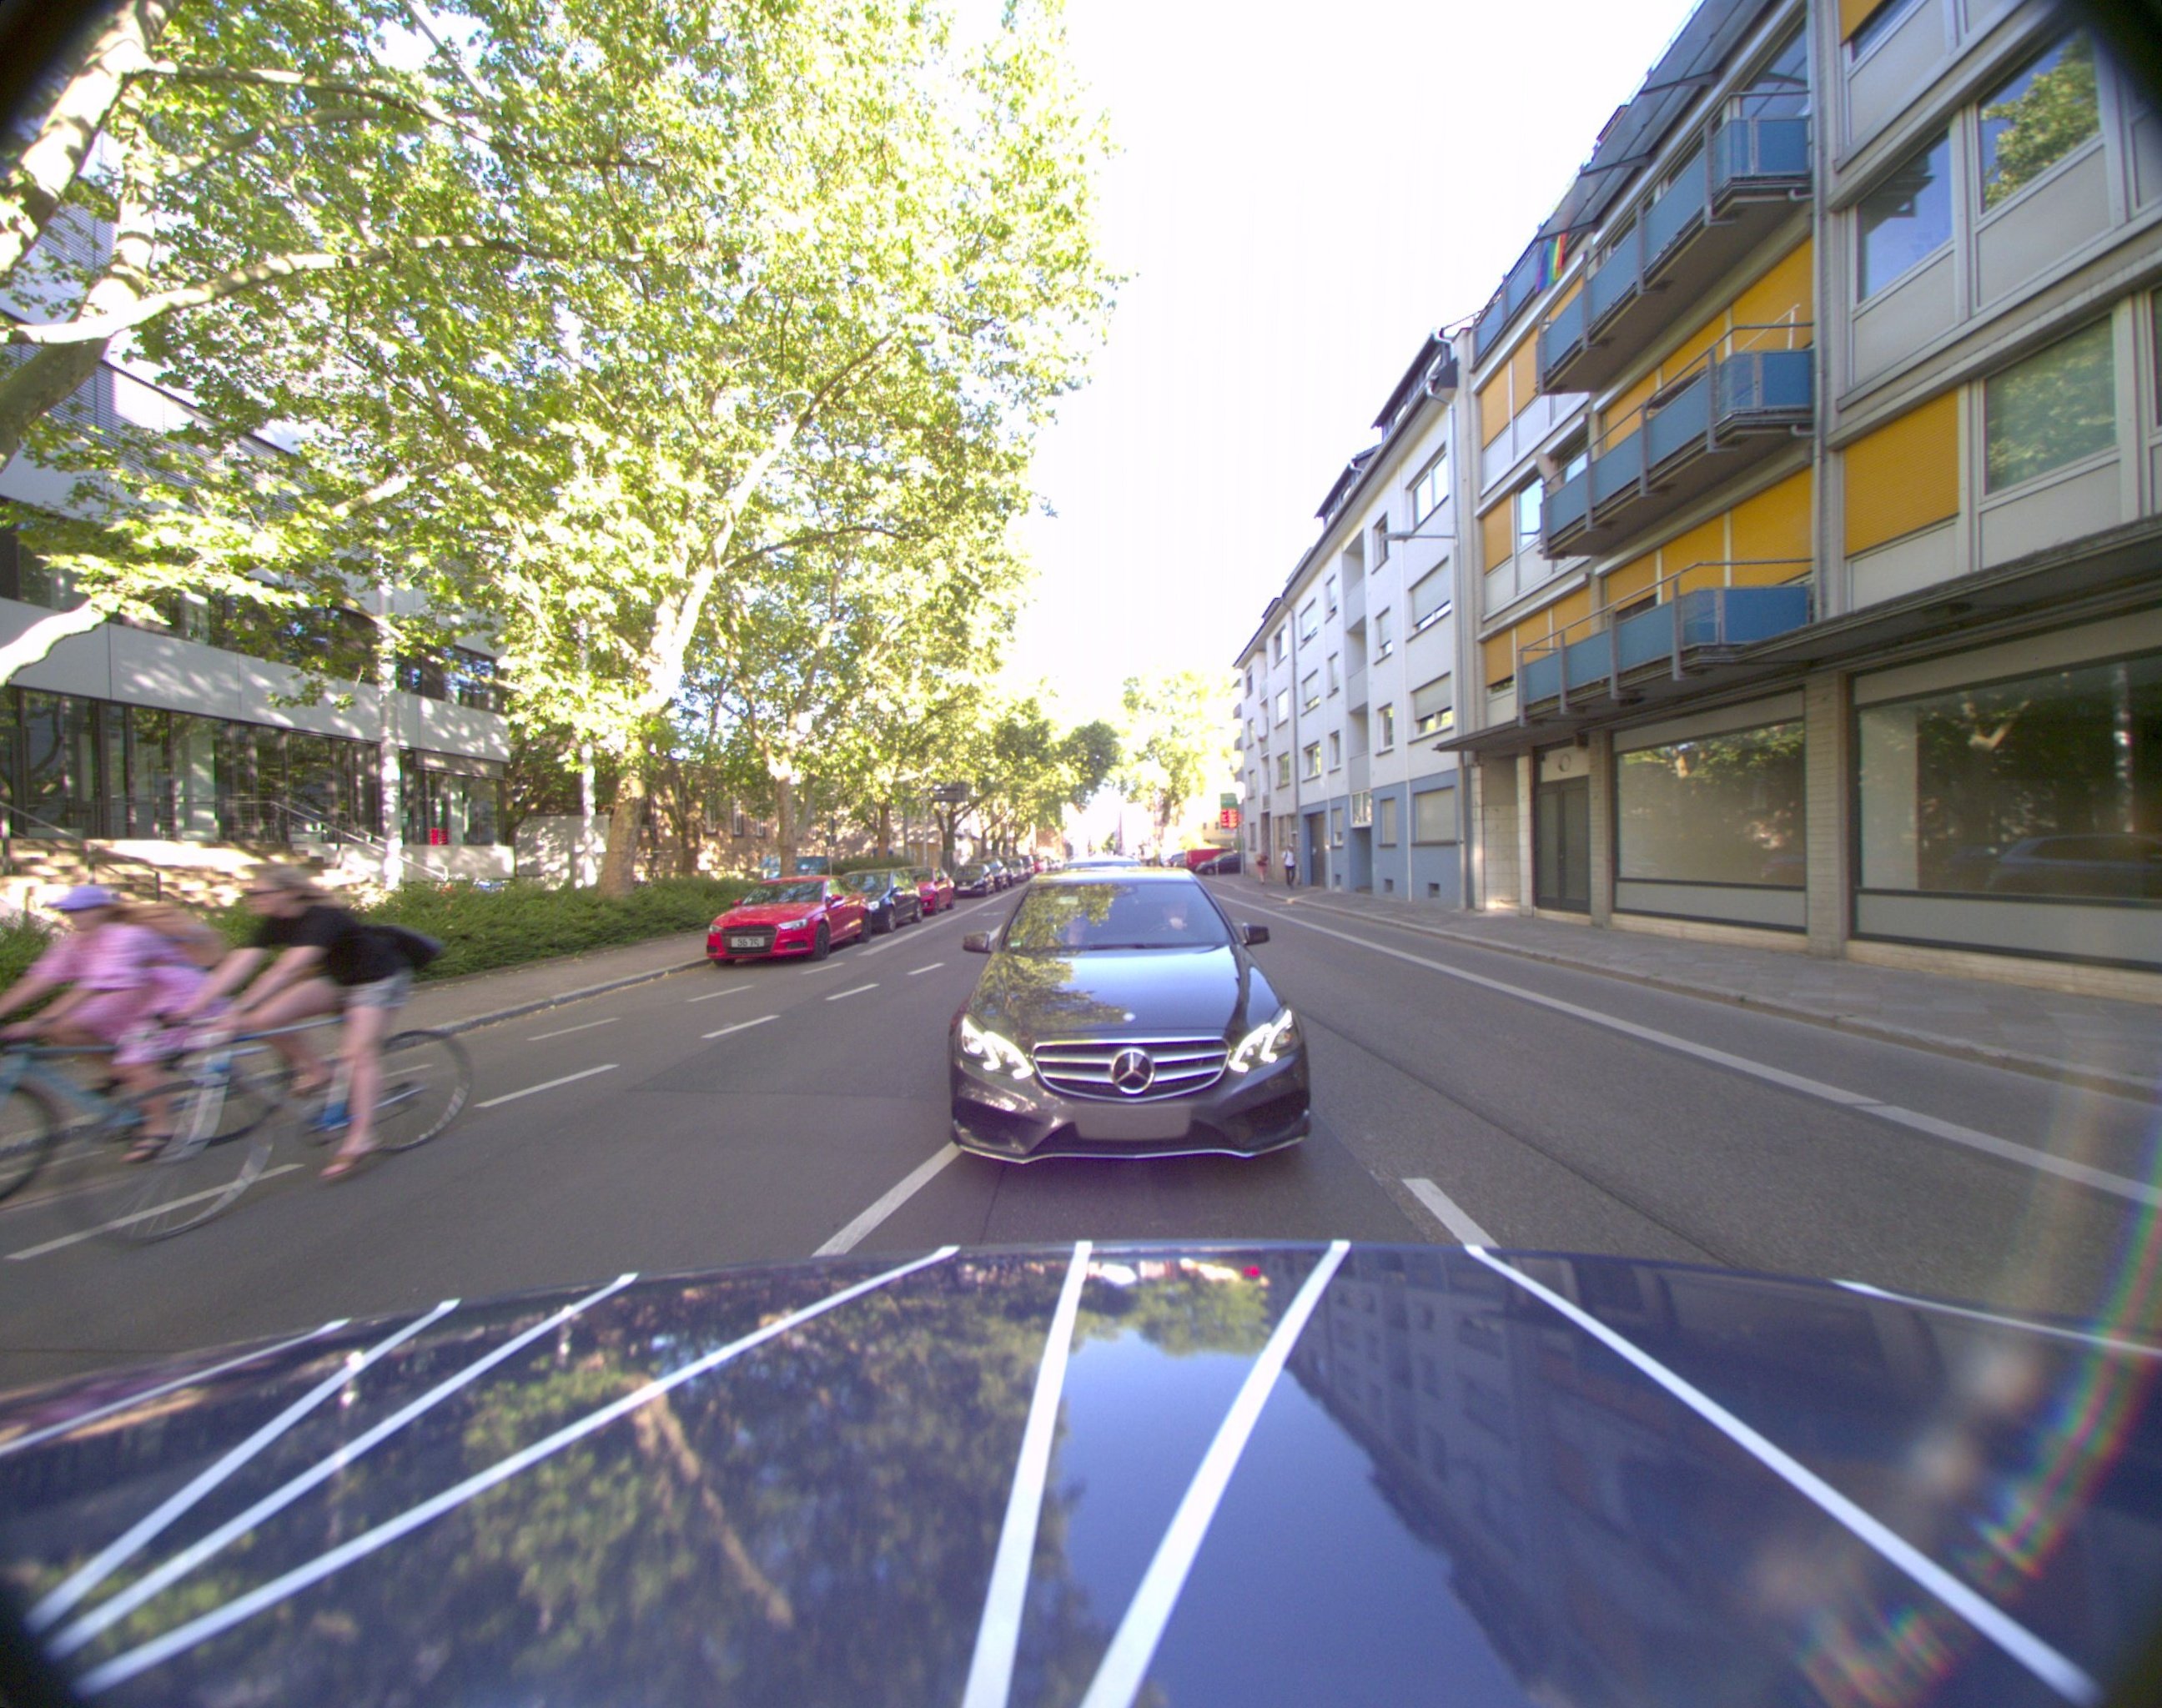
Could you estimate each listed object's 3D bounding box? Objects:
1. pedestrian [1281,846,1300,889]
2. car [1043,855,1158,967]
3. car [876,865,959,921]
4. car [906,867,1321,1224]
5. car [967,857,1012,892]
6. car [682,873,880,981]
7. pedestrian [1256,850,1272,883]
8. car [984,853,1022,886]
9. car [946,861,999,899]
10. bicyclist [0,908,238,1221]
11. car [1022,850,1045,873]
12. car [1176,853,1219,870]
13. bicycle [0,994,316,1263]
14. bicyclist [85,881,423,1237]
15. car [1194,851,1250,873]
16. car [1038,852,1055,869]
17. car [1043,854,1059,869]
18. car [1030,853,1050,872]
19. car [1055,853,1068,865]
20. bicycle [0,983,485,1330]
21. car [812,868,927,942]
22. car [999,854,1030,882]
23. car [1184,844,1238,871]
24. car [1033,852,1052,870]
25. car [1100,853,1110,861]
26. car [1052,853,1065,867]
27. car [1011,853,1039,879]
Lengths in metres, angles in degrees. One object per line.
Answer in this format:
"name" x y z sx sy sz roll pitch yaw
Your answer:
"pedestrian" 8.516 0.540 30.910 0.569 1.716 0.343 -3 1 1
"car" 0.331 0.882 13.737 1.680 1.622 4.125 -3 0 1
"car" -4.993 1.149 23.664 1.635 1.455 3.740 -3 0 1
"car" 0.176 0.904 5.500 1.804 1.455 4.125 -3 0 1
"car" -4.522 0.974 38.066 1.635 1.578 3.845 -3 0 1
"car" -5.133 1.166 13.684 1.804 1.455 4.125 -3 0 1
"pedestrian" 8.495 0.571 35.265 0.569 1.509 0.343 -3 1 1
"car" -4.500 0.858 44.278 1.635 1.795 3.845 -3 0 1
"car" -4.677 1.097 33.178 1.635 1.455 3.740 -3 0 1
"bicyclist" -5.325 1.033 4.017 0.602 1.393 0.931 -3 1 1
"car" -4.134 0.644 66.011 1.635 1.878 3.673 -3 0 1
"car" 9.565 0.638 62.594 3.325 1.241 1.295 -3 0 1
"bicycle" -5.311 1.414 3.990 0.602 0.979 1.881 -3 0 1
"bicyclist" -4.017 0.921 3.785 0.612 1.507 0.889 -3 1 1
"car" 10.124 0.557 54.734 3.670 1.403 1.636 -3 0 1
"car" -3.941 0.720 86.167 1.635 1.713 3.673 -3 0 1
"car" -3.623 0.928 92.560 1.635 1.713 3.673 -3 0 1
"car" -3.856 0.781 71.973 1.635 1.713 3.673 -3 0 1
"car" -2.737 0.718 109.627 1.635 1.713 3.673 -3 0 1
"bicycle" -3.997 1.314 3.786 0.612 1.020 1.731 -3 0 1
"car" -4.996 1.150 18.469 1.635 1.455 3.740 -3 0 1
"car" -4.413 0.900 50.736 1.635 1.644 3.845 -3 0 1
"car" 10.239 0.260 59.963 3.927 1.912 1.636 -3 0 1
"car" -3.976 0.718 78.152 1.635 1.713 3.673 -3 0 1
"car" 5.006 0.622 159.770 1.853 1.455 4.099 -3 0 1
"car" -3.034 0.793 102.842 1.635 1.713 3.673 -3 0 1
"car" -4.084 0.833 55.505 1.635 1.799 3.673 -3 0 1
